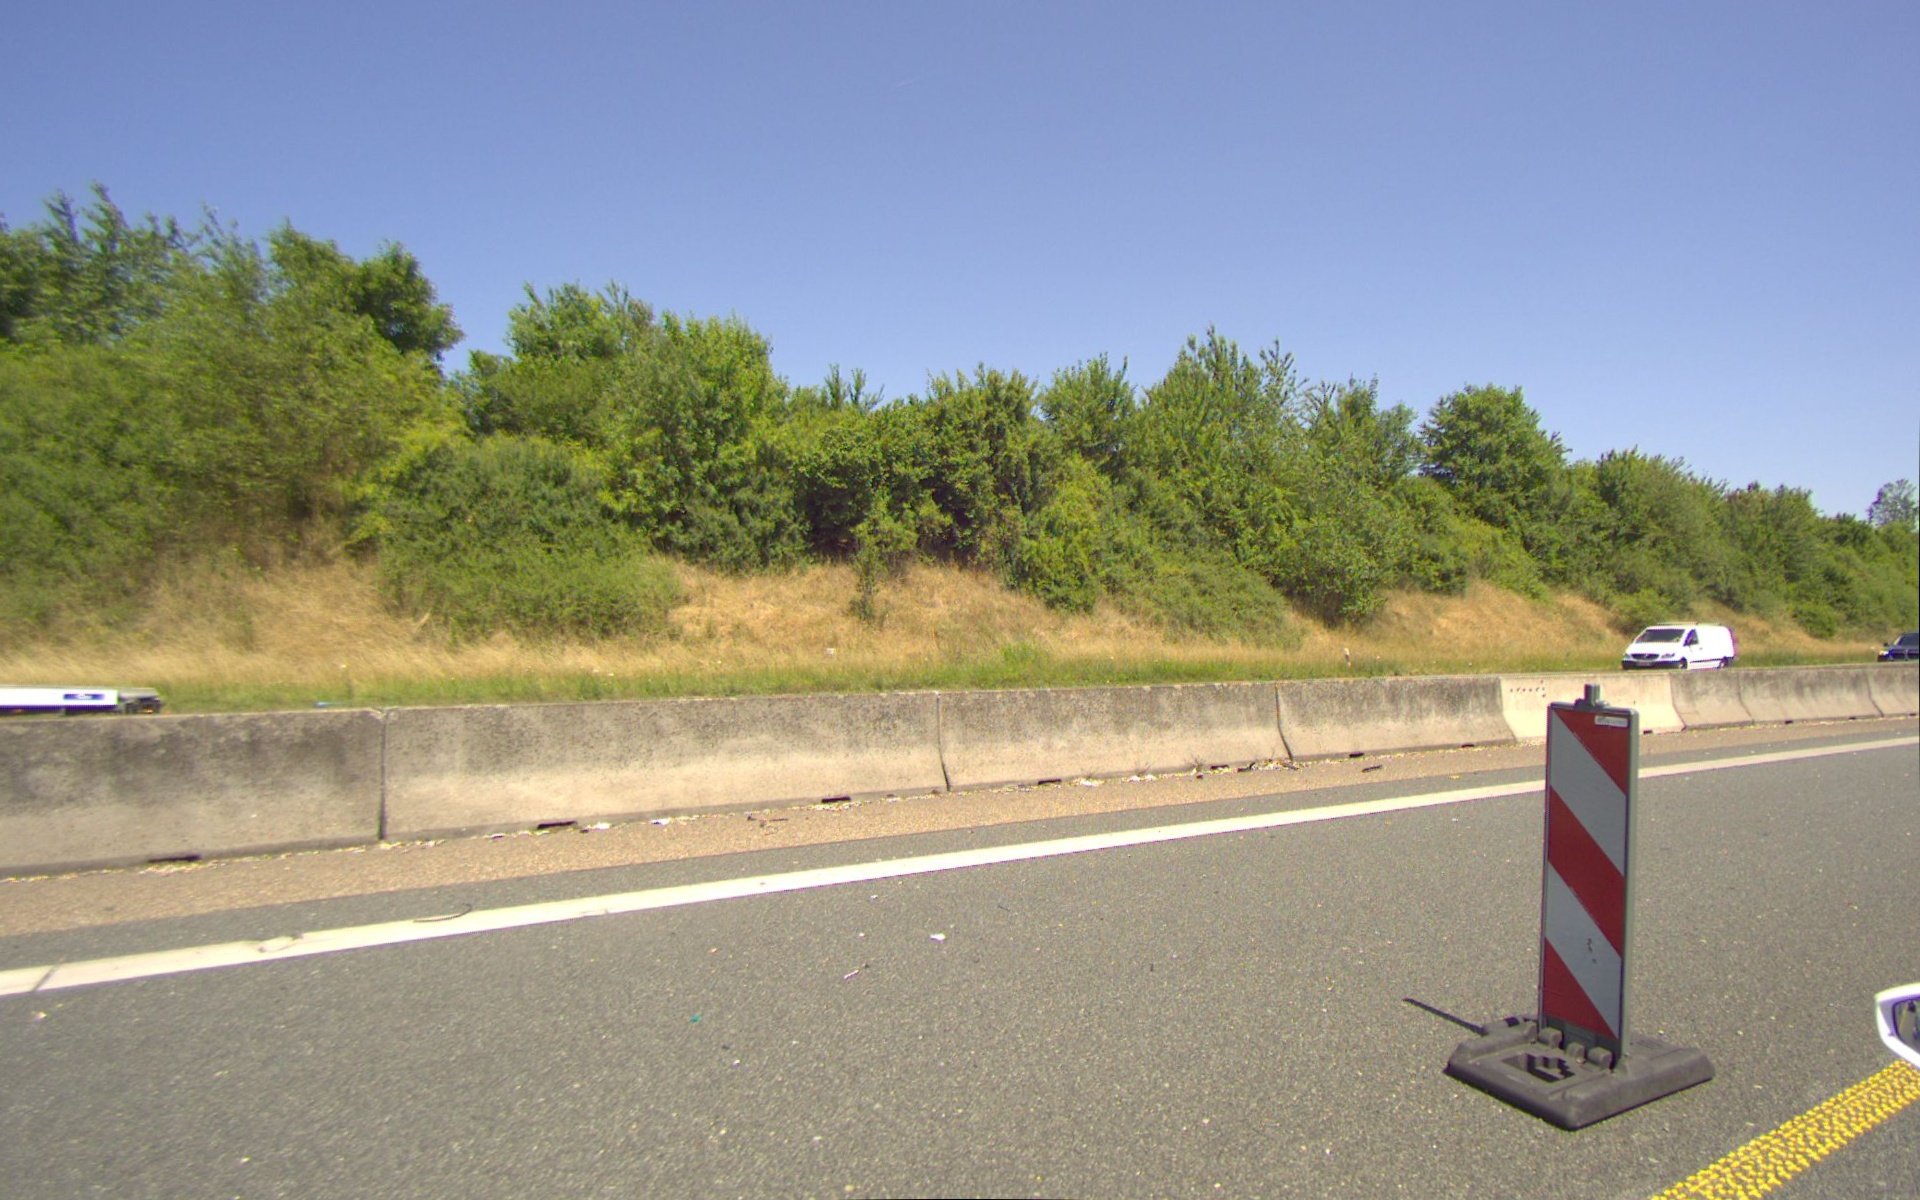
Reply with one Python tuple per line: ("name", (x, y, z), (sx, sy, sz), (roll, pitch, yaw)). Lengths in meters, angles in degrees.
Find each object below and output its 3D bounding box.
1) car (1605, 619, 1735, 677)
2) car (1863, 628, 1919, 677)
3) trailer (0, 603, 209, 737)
("car", (26.781, 1.773, 37.840), (5.531, 2.040, 1.921), (1, -2, -31))
("car", (34.940, 1.888, 36.529), (4.445, 1.716, 1.864), (1, -2, -30))
("trailer", (-12.189, 0.689, 10.117), (7.133, 1.362, 2.345), (2, -2, -31))
